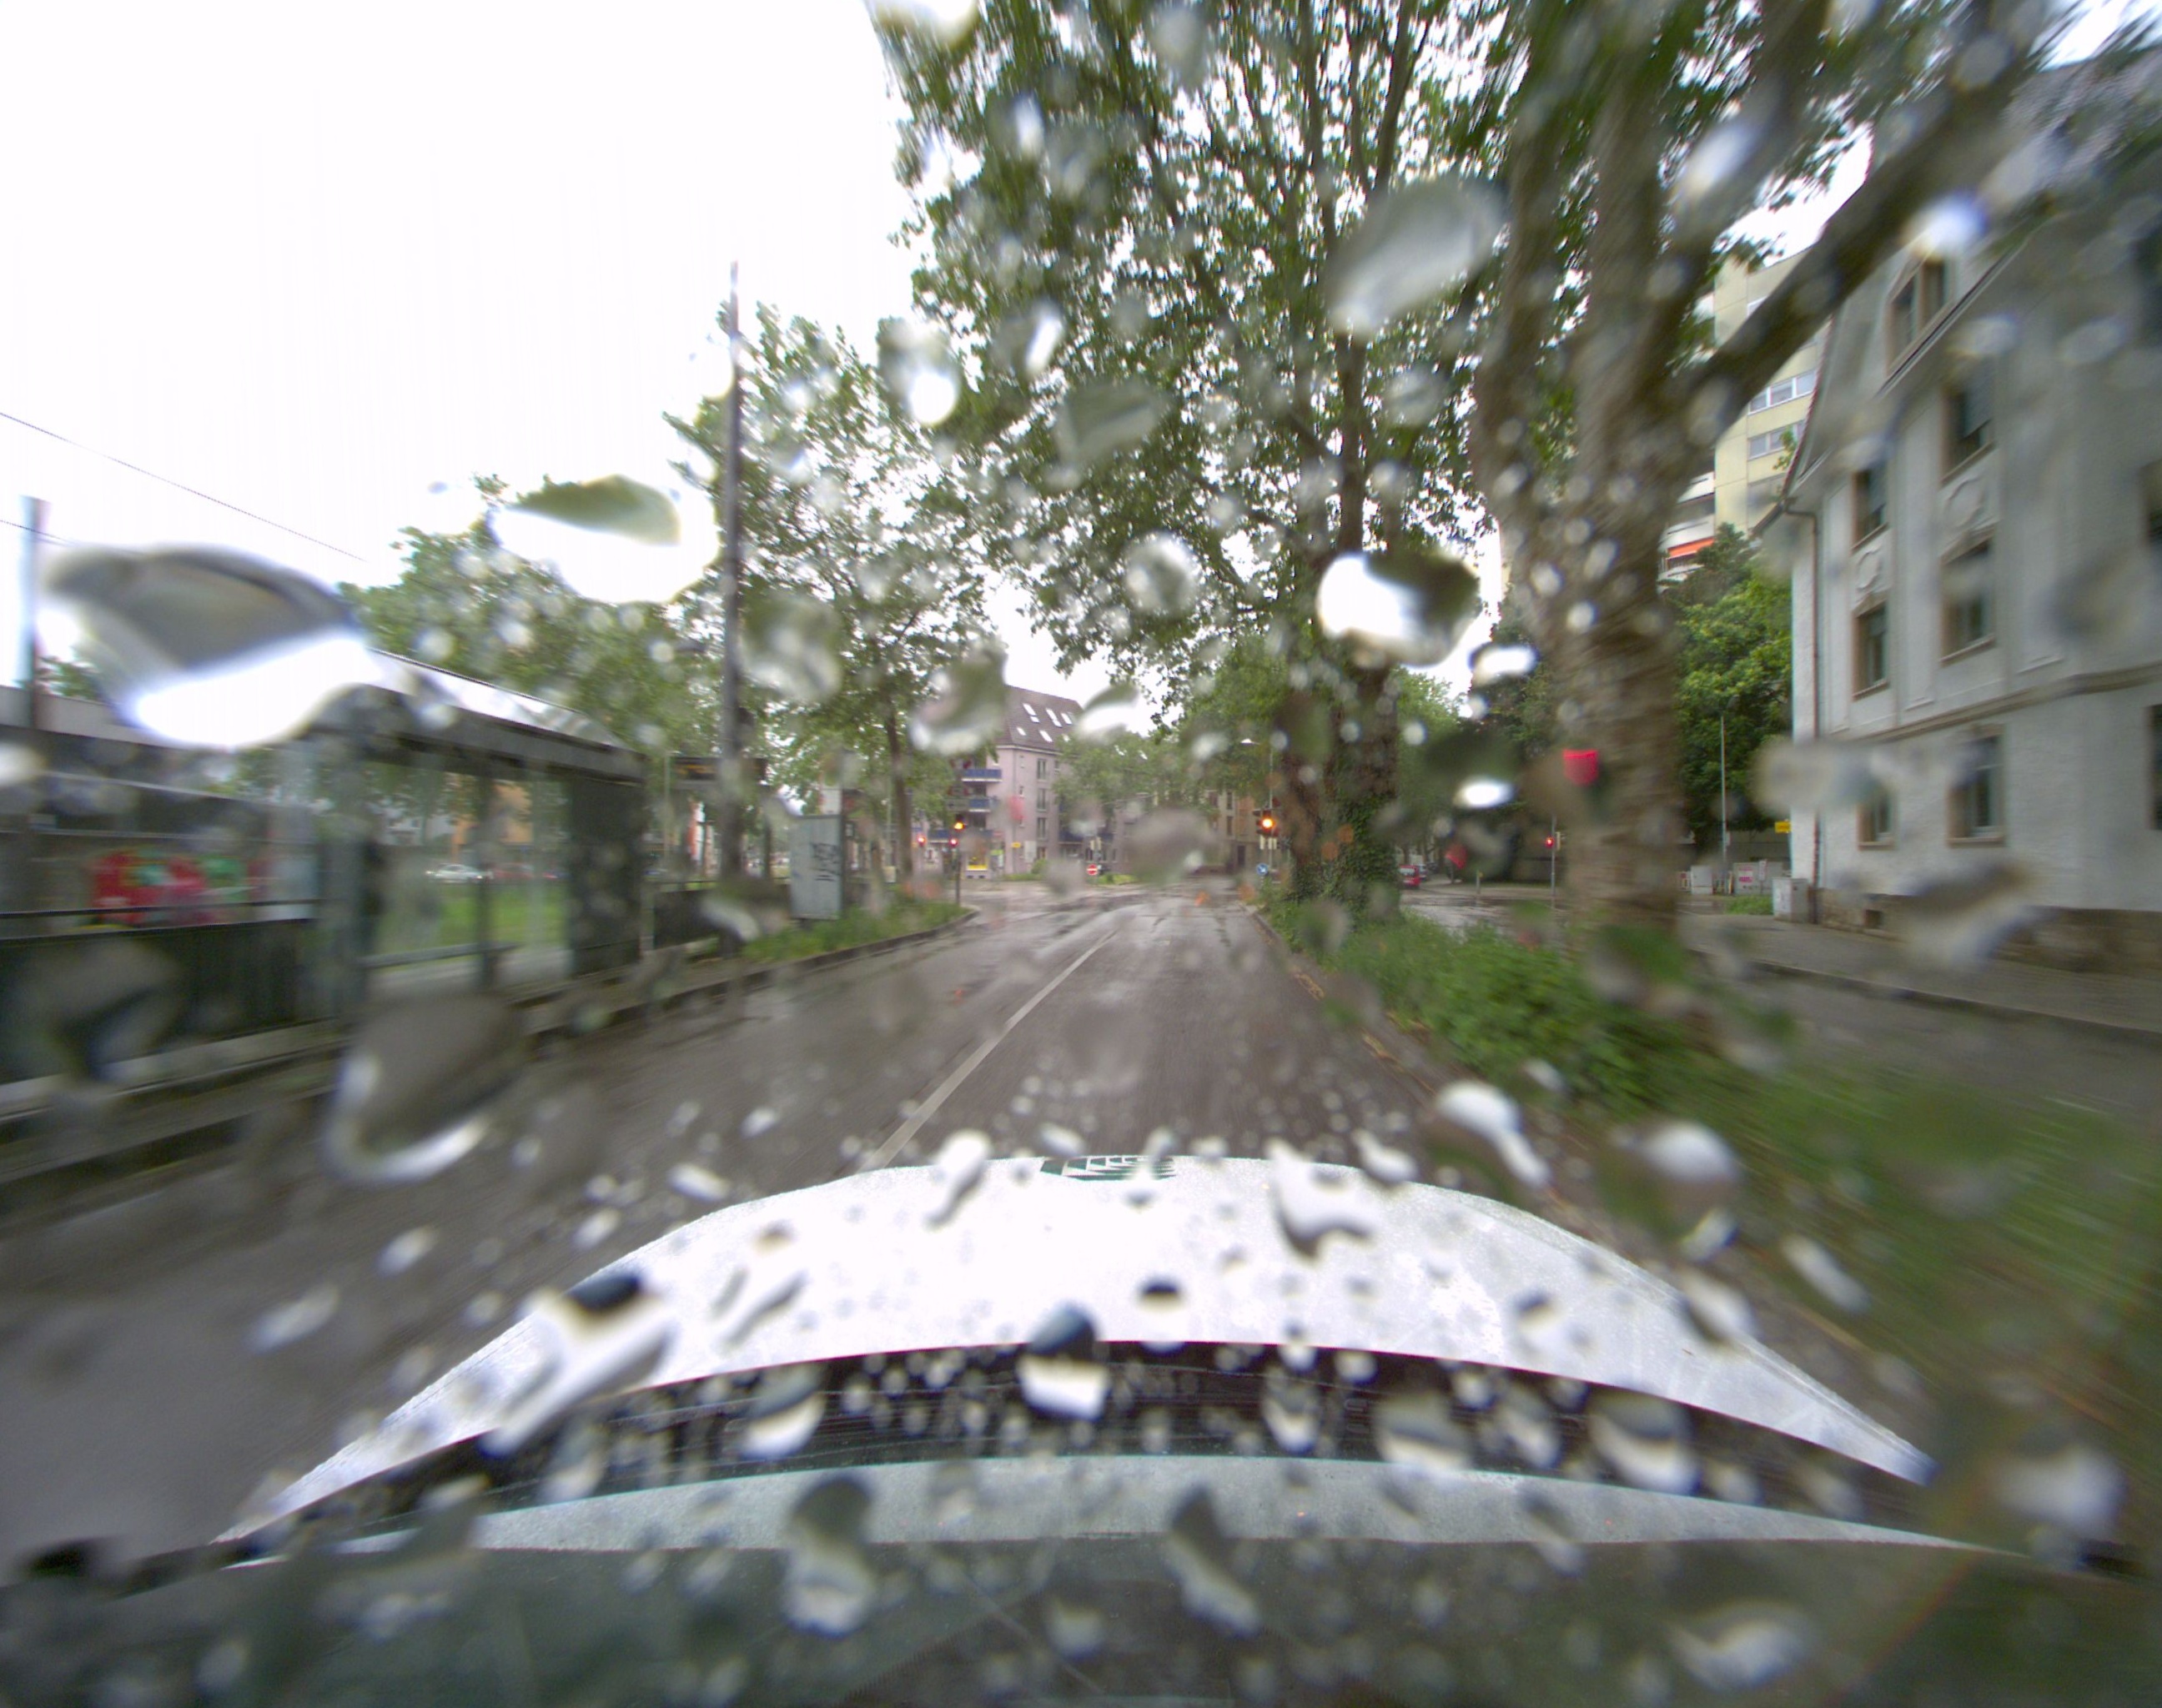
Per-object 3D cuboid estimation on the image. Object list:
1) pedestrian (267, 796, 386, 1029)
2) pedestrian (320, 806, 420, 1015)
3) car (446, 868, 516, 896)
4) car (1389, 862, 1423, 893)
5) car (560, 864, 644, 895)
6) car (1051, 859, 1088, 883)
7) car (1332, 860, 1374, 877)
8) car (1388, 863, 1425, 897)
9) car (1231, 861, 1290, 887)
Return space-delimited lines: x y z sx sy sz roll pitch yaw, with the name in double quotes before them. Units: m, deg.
"pedestrian" -5.945 0.437 6.449 0.585 1.731 0.562 -1 -1 -34
"pedestrian" -6.193 0.467 7.125 0.585 1.731 0.562 -1 -1 -36
"car" -37.806 1.741 51.294 3.749 1.639 1.734 -2 -1 20
"car" 23.354 1.665 58.372 1.975 2.014 4.023 -2 -1 25
"car" -27.024 1.433 46.000 3.972 1.651 1.983 -2 -1 20
"car" -0.815 1.201 58.482 1.712 1.552 3.573 -2 -1 15
"car" 27.265 1.466 81.626 3.571 1.618 1.692 -2 -1 37
"car" 21.175 1.678 52.931 1.975 2.014 4.023 -2 -1 25
"car" 11.236 1.245 50.972 3.451 1.523 1.527 -2 -1 17
